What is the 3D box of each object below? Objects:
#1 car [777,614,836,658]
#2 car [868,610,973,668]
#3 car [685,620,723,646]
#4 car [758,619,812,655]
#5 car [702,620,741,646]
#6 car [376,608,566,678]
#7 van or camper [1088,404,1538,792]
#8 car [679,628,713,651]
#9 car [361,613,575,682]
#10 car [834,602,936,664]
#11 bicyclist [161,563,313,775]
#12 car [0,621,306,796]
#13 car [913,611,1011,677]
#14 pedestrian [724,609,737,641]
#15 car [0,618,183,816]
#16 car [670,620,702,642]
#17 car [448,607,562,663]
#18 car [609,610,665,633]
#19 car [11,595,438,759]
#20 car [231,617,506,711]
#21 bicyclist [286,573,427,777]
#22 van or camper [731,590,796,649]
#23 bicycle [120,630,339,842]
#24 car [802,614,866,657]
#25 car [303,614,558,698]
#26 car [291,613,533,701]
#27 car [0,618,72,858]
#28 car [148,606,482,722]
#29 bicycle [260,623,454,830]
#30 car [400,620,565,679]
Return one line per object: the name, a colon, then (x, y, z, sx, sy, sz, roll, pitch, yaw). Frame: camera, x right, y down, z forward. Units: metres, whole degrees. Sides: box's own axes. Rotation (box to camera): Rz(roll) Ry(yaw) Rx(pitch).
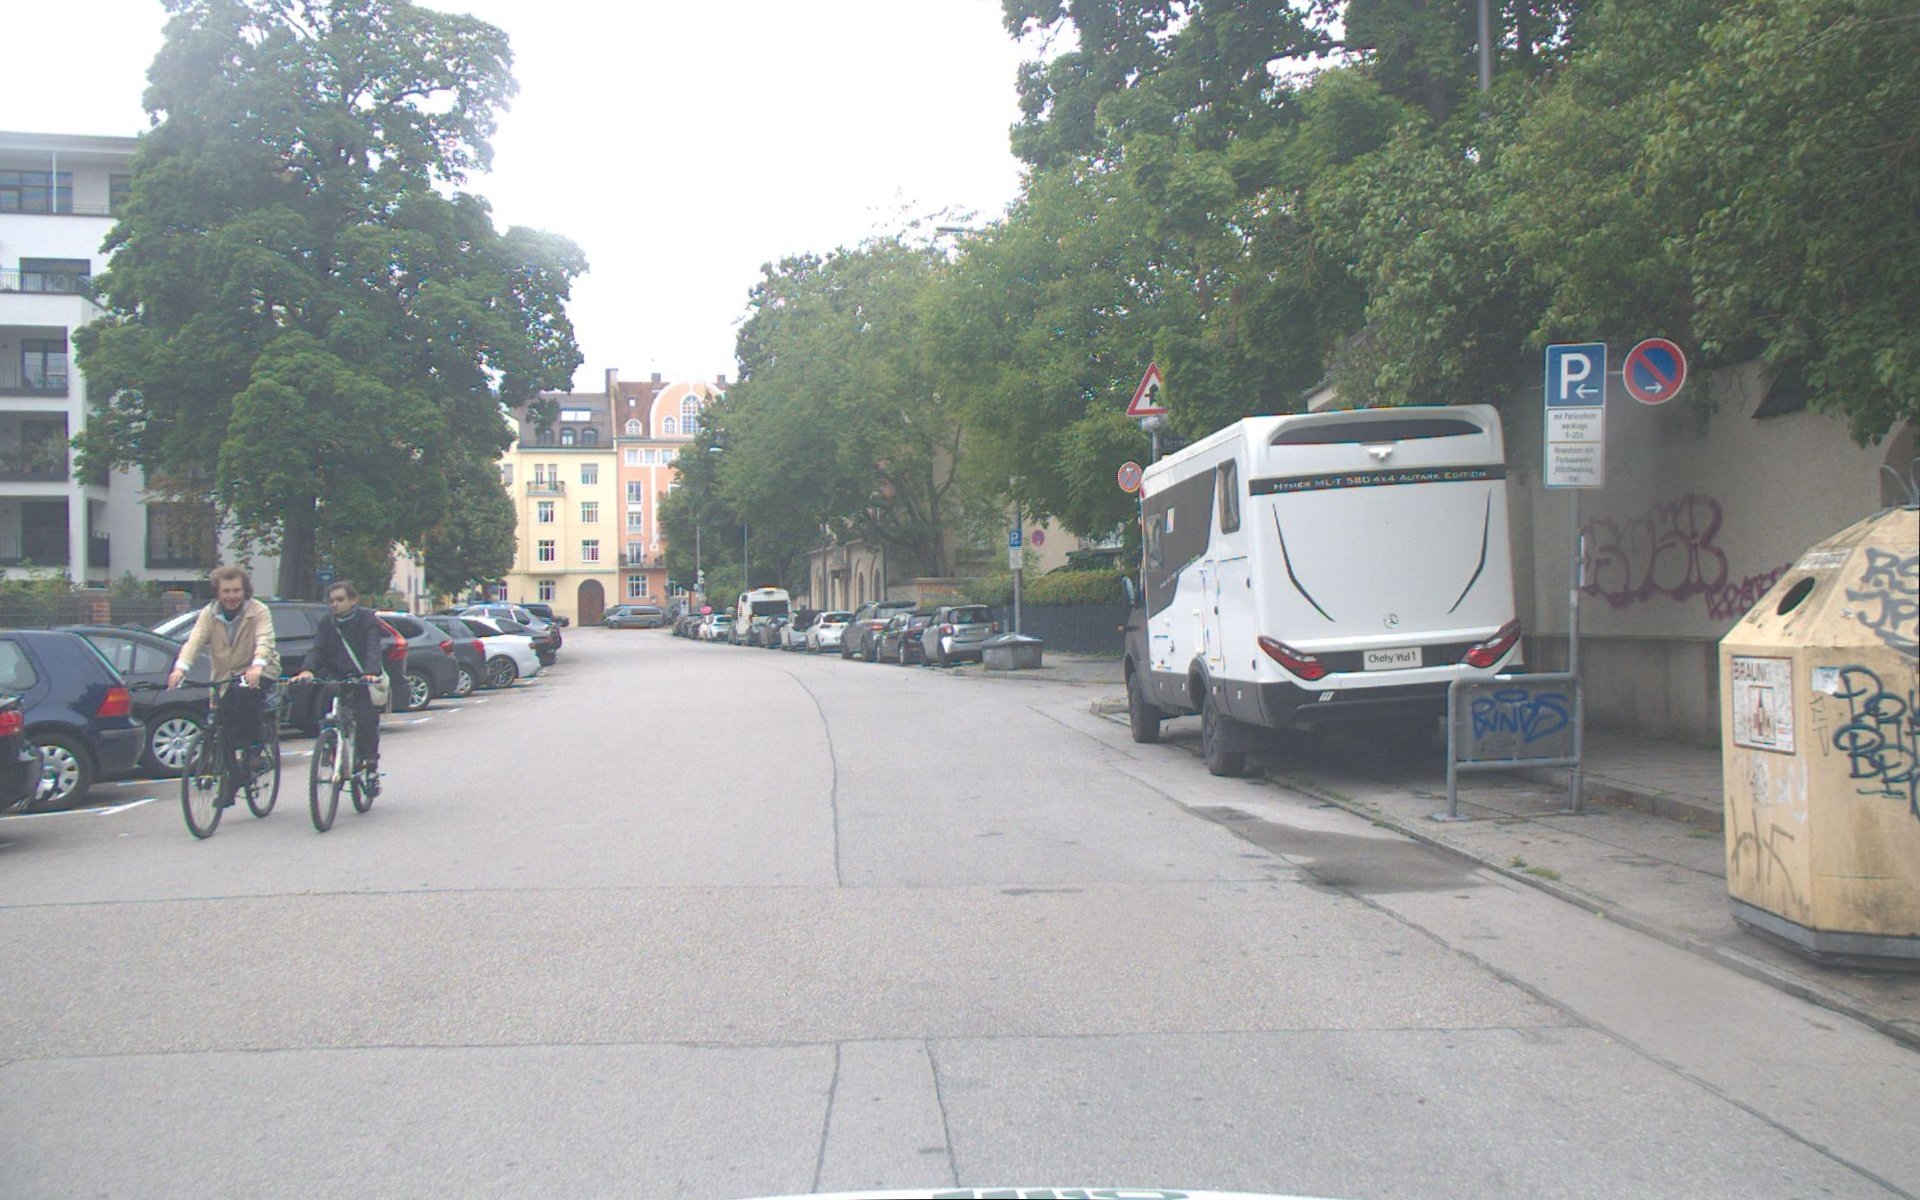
car: (-6.070, 1.410, 65.101, 1.678, 1.564, 4.224, -3, -1, -14)
car: (-1.164, 1.085, 46.437, 1.847, 1.452, 4.202, -2, -1, -17)
car: (-16.077, 2.057, 103.909, 1.775, 1.491, 3.818, -2, 1, -18)
car: (-7.515, 1.576, 70.686, 1.678, 1.393, 4.424, -2, -1, -14)
car: (-13.707, 1.898, 95.038, 1.679, 1.432, 4.113, -2, -1, -15)
car: (-12.875, 1.120, 43.743, 2.100, 1.729, 4.384, -3, -2, 43)
van or camper: (3.012, 0.019, 16.354, 2.228, 2.957, 7.267, -1, -1, -6)
car: (-17.443, 2.587, 109.153, 1.644, 1.367, 3.819, -2, 1, -17)
car: (-11.346, 1.083, 38.295, 1.933, 1.464, 4.381, -3, -2, 45)
car: (-2.371, 1.014, 50.905, 1.962, 1.741, 4.861, -2, -1, -17)
bicyclist: (-5.063, 0.471, 11.631, 0.683, 1.422, 0.929, -1, -1, -3)
car: (-8.721, 1.016, 15.545, 4.474, 1.443, 1.904, -2, 0, -35)
car: (0.019, 1.128, 42.483, 1.711, 1.563, 2.932, -2, -1, -17)
pedestrian: (-14.701, 1.624, 106.158, 0.760, 2.049, 0.560, 0, -1, -15)
car: (-8.653, 0.973, 12.877, 4.474, 1.476, 1.798, -2, -1, -35)
car: (-18.880, 2.142, 113.843, 1.644, 1.367, 3.819, -2, 1, -17)
car: (-18.579, 1.431, 67.678, 4.185, 2.102, 1.709, -2, -1, -44)
car: (-27.865, 1.858, 142.602, 4.627, 1.914, 1.832, 0, -1, -16)
car: (-8.920, 0.878, 20.192, 4.474, 1.694, 1.964, -2, -1, -35)
car: (-10.500, 1.099, 29.500, 4.346, 1.476, 1.636, -1, -1, -36)
bicyclist: (-4.259, 0.512, 11.730, 0.683, 1.376, 0.929, -1, -1, -3)
van or camper: (-9.231, 0.941, 77.323, 2.156, 2.595, 5.705, -2, -1, -15)
bicycle: (-5.064, 0.883, 11.626, 0.693, 1.328, 2.117, -1, -1, -3)
car: (-4.621, 1.299, 60.192, 1.657, 1.466, 3.985, -2, -1, -14)
car: (-10.475, 1.078, 32.861, 4.472, 1.476, 1.870, -1, -1, -39)
car: (-11.546, 1.179, 35.000, 4.473, 1.536, 1.905, -3, 0, -39)
car: (-8.025, 0.930, 10.106, 4.468, 1.476, 1.956, -2, 0, -32)
car: (-9.869, 0.930, 25.438, 4.478, 1.595, 1.865, -1, -1, -37)
bicycle: (-4.241, 0.834, 11.812, 0.692, 1.328, 2.117, -1, -1, -3)
car: (-14.404, 1.477, 49.926, 4.363, 1.649, 2.060, 0, -2, -36)
